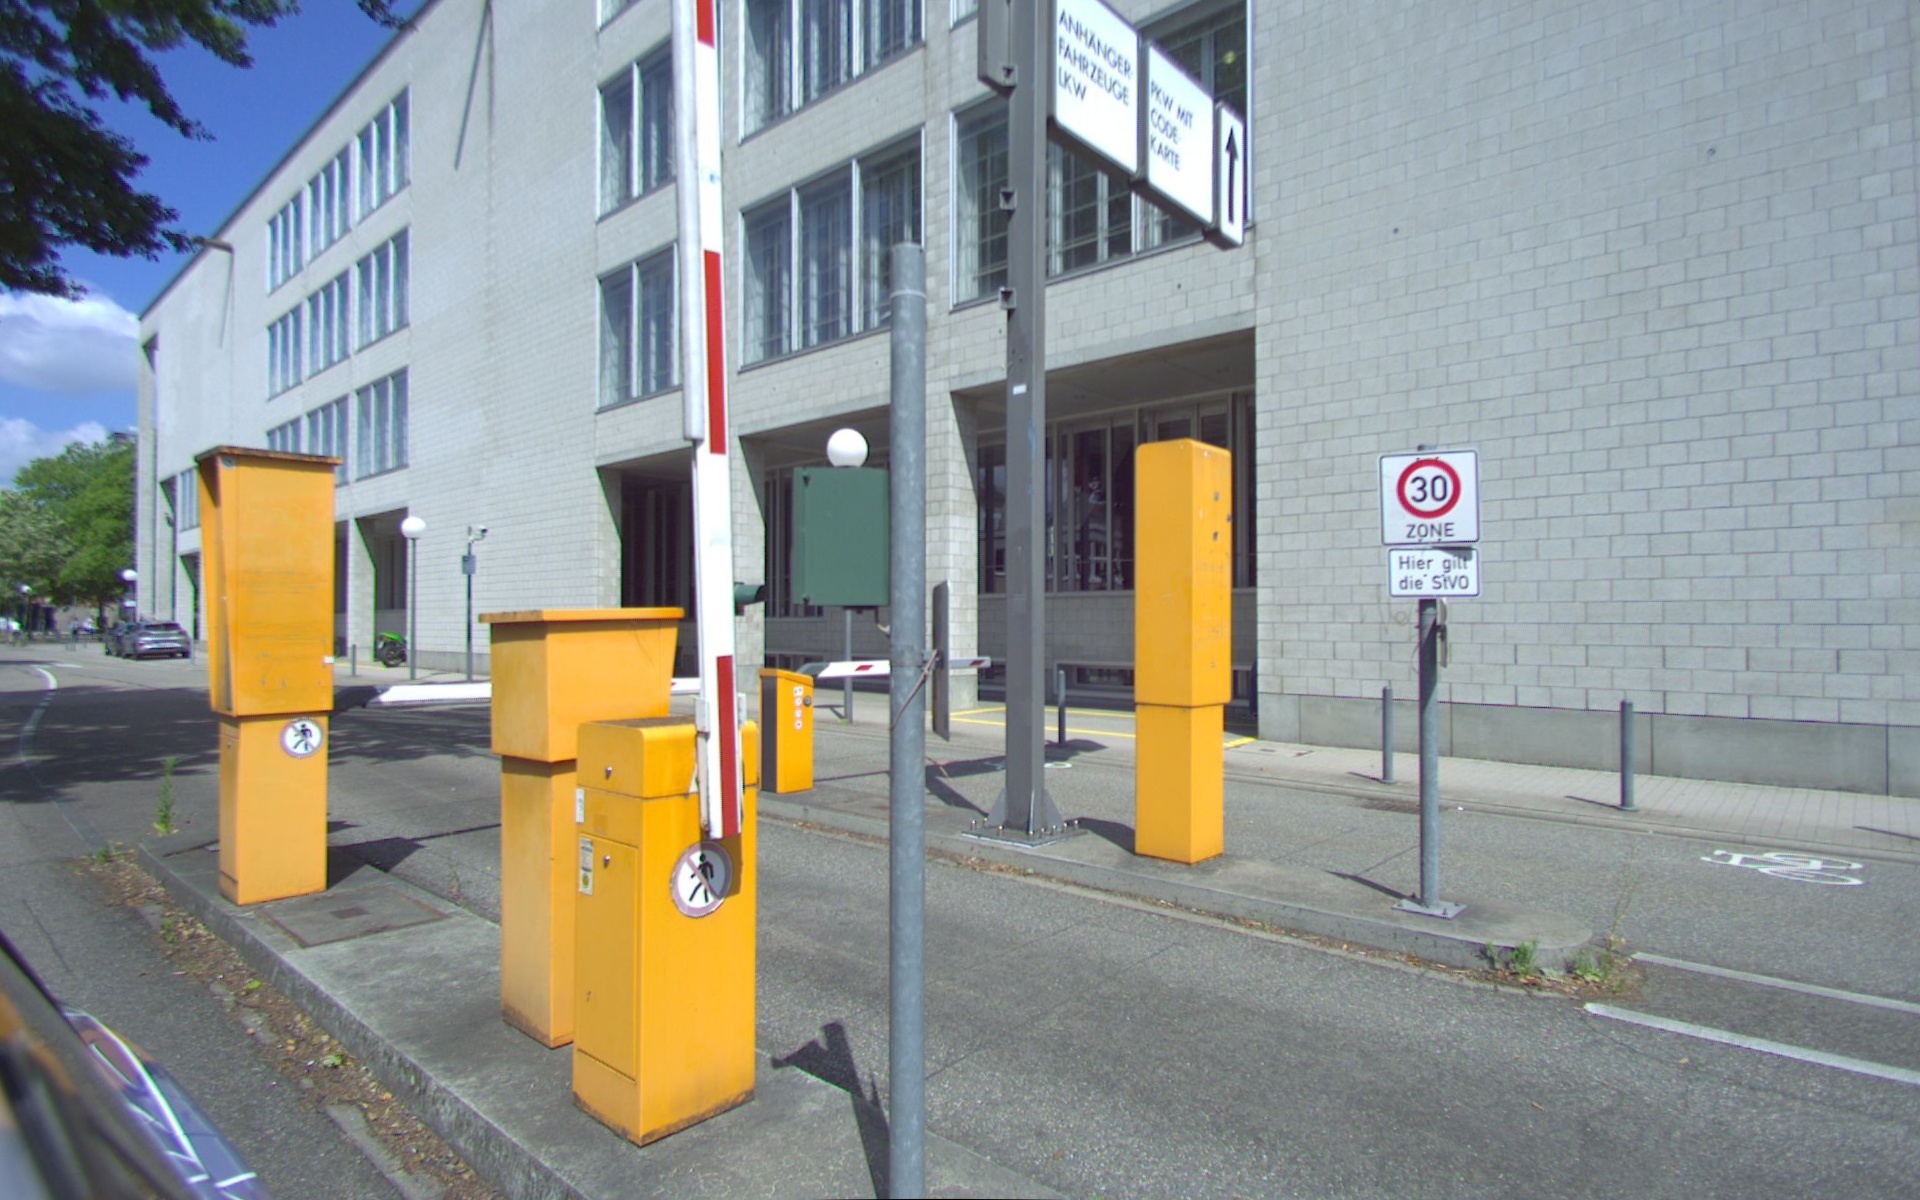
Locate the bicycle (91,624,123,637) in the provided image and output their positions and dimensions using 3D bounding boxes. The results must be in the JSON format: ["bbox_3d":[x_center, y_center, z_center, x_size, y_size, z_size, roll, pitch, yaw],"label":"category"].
[{"bbox_3d":[-71.538,2.577,84.900,0.616,1.066,2.116,-1,-1,12],"label":"bicycle"}]

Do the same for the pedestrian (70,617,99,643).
[{"bbox_3d":[-62.979,2.139,72.812,1.369,1.838,1.381,-1,-1,41],"label":"pedestrian"}]

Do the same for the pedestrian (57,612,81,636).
[{"bbox_3d":[-76.013,2.066,86.361,1.369,2.029,1.381,-1,-1,41],"label":"pedestrian"}]

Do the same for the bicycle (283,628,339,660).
[{"bbox_3d":[-23.492,1.586,36.645,0.607,1.095,1.624,-1,-1,36],"label":"bicycle"}]

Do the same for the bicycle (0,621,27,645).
[{"bbox_3d":[-59.795,2.067,63.452,1.907,1.505,0.640,0,-1,-3],"label":"bicycle"}]

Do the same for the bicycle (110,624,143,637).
[{"bbox_3d":[-69.470,2.537,84.363,0.676,1.066,2.116,-1,-1,12],"label":"bicycle"}]

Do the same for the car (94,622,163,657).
[{"bbox_3d":[-36.332,1.705,44.202,4.664,1.433,1.707,-1,-1,43],"label":"car"}]

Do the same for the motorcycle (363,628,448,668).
[{"bbox_3d":[-16.691,1.422,30.511,0.772,1.146,2.149,-1,-2,32],"label":"motorcycle"}]

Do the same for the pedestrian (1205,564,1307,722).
[{"bbox_3d":[3.997,0.561,13.668,1.065,2.029,0.839,-1,-2,40],"label":"pedestrian"}]

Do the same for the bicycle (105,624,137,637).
[{"bbox_3d":[-70.192,2.559,84.663,0.616,1.066,2.116,-1,-1,12],"label":"bicycle"}]

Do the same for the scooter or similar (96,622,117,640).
[{"bbox_3d":[-58.237,2.101,69.039,0.702,1.200,1.620,0,0,-26],"label":"scooter or similar"}]

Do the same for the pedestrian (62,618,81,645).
[{"bbox_3d":[-58.023,2.051,66.088,0.749,1.738,1.237,-3,1,-37],"label":"pedestrian"}]

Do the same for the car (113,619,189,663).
[{"bbox_3d":[-32.406,1.590,40.484,4.405,1.546,1.708,0,1,43],"label":"car"}]

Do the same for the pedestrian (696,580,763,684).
[{"bbox_3d":[-4.653,0.646,20.440,1.065,2.029,0.839,-1,-2,40],"label":"pedestrian"}]

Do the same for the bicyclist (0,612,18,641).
[{"bbox_3d":[-59.728,1.663,63.469,0.686,1.778,0.610,0,-1,-3],"label":"bicyclist"}]
